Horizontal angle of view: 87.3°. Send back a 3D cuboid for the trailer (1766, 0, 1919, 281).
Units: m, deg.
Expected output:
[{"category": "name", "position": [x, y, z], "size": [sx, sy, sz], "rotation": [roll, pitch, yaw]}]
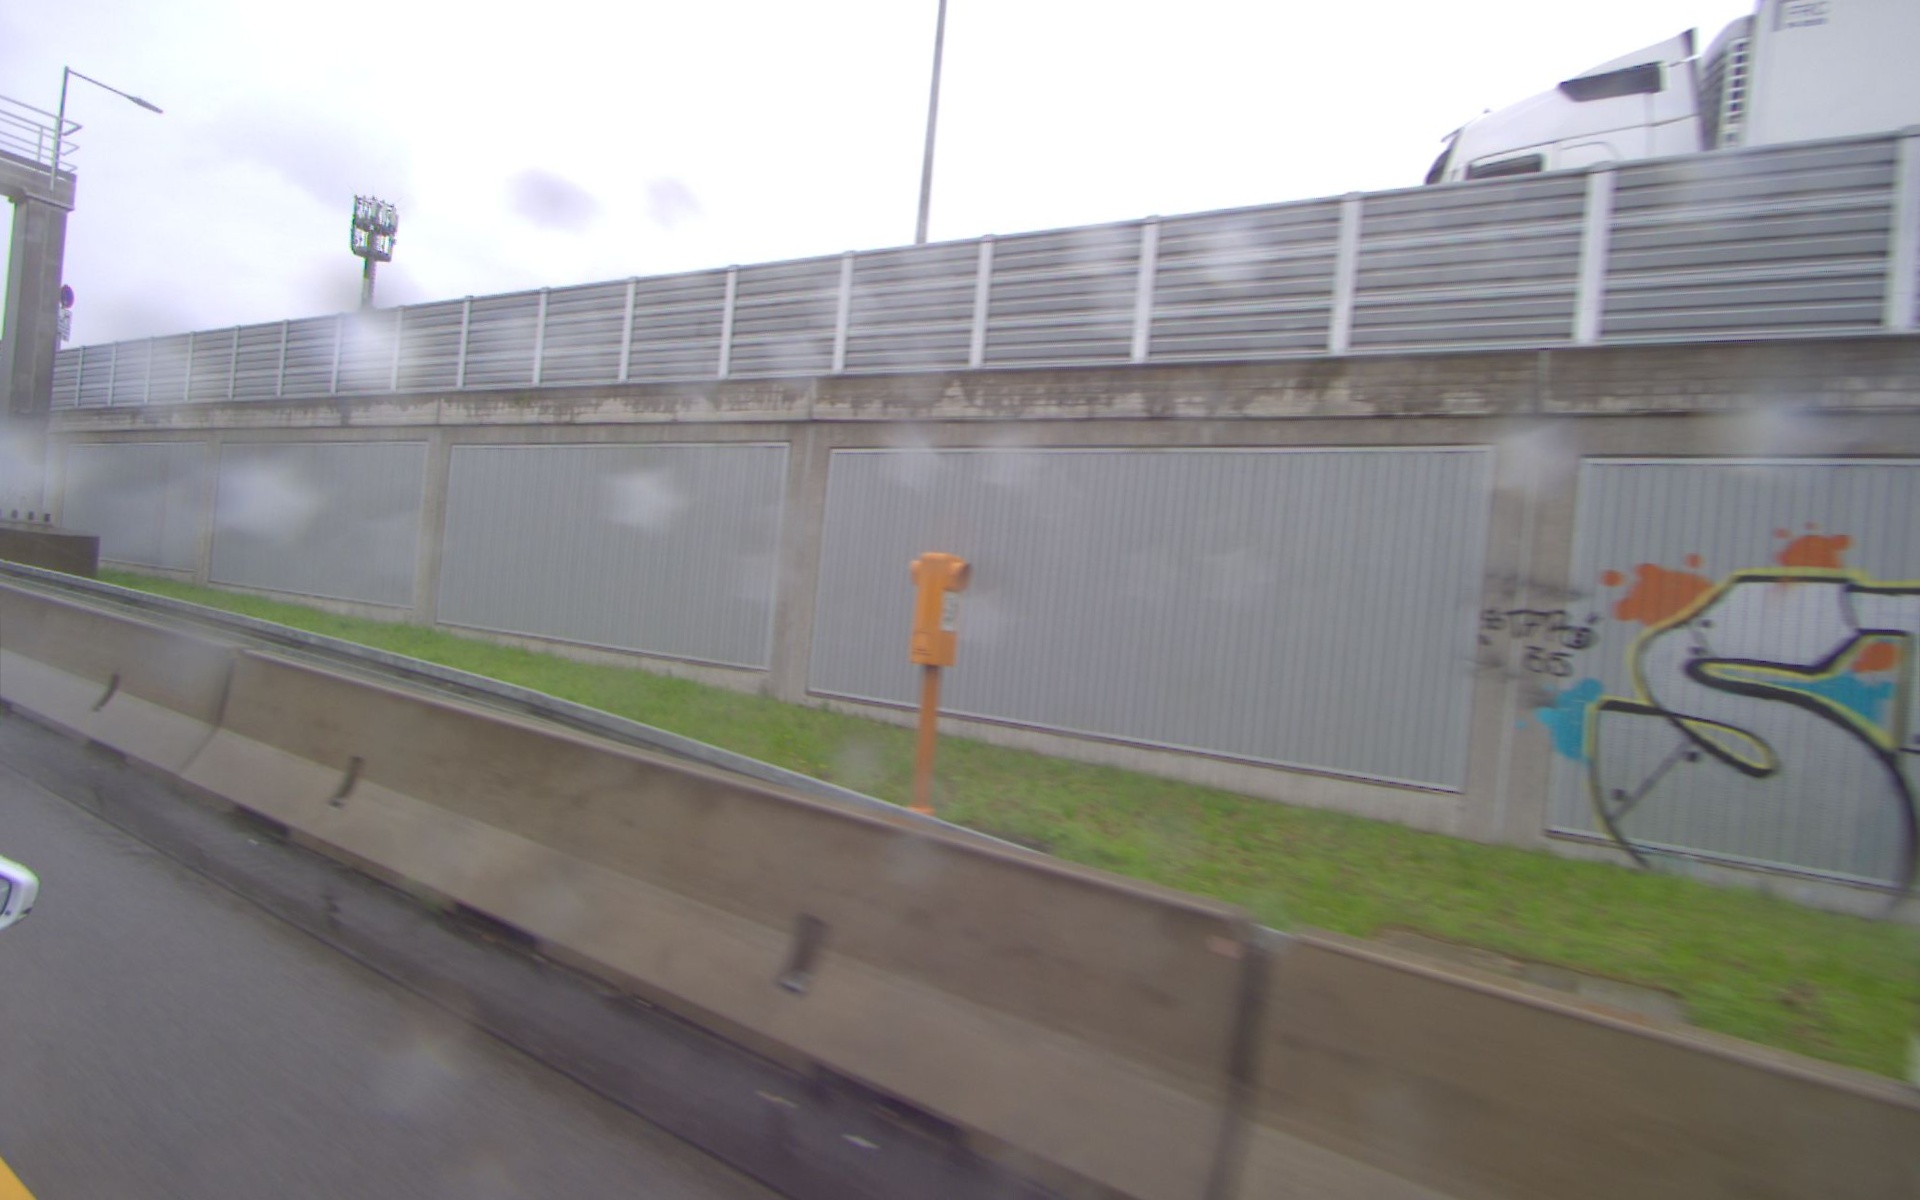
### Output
[{"category": "trailer", "position": [13.783, -4.017, 6.136], "size": [13.544, 2.130, 1.997], "rotation": [5, -2, 32]}]
